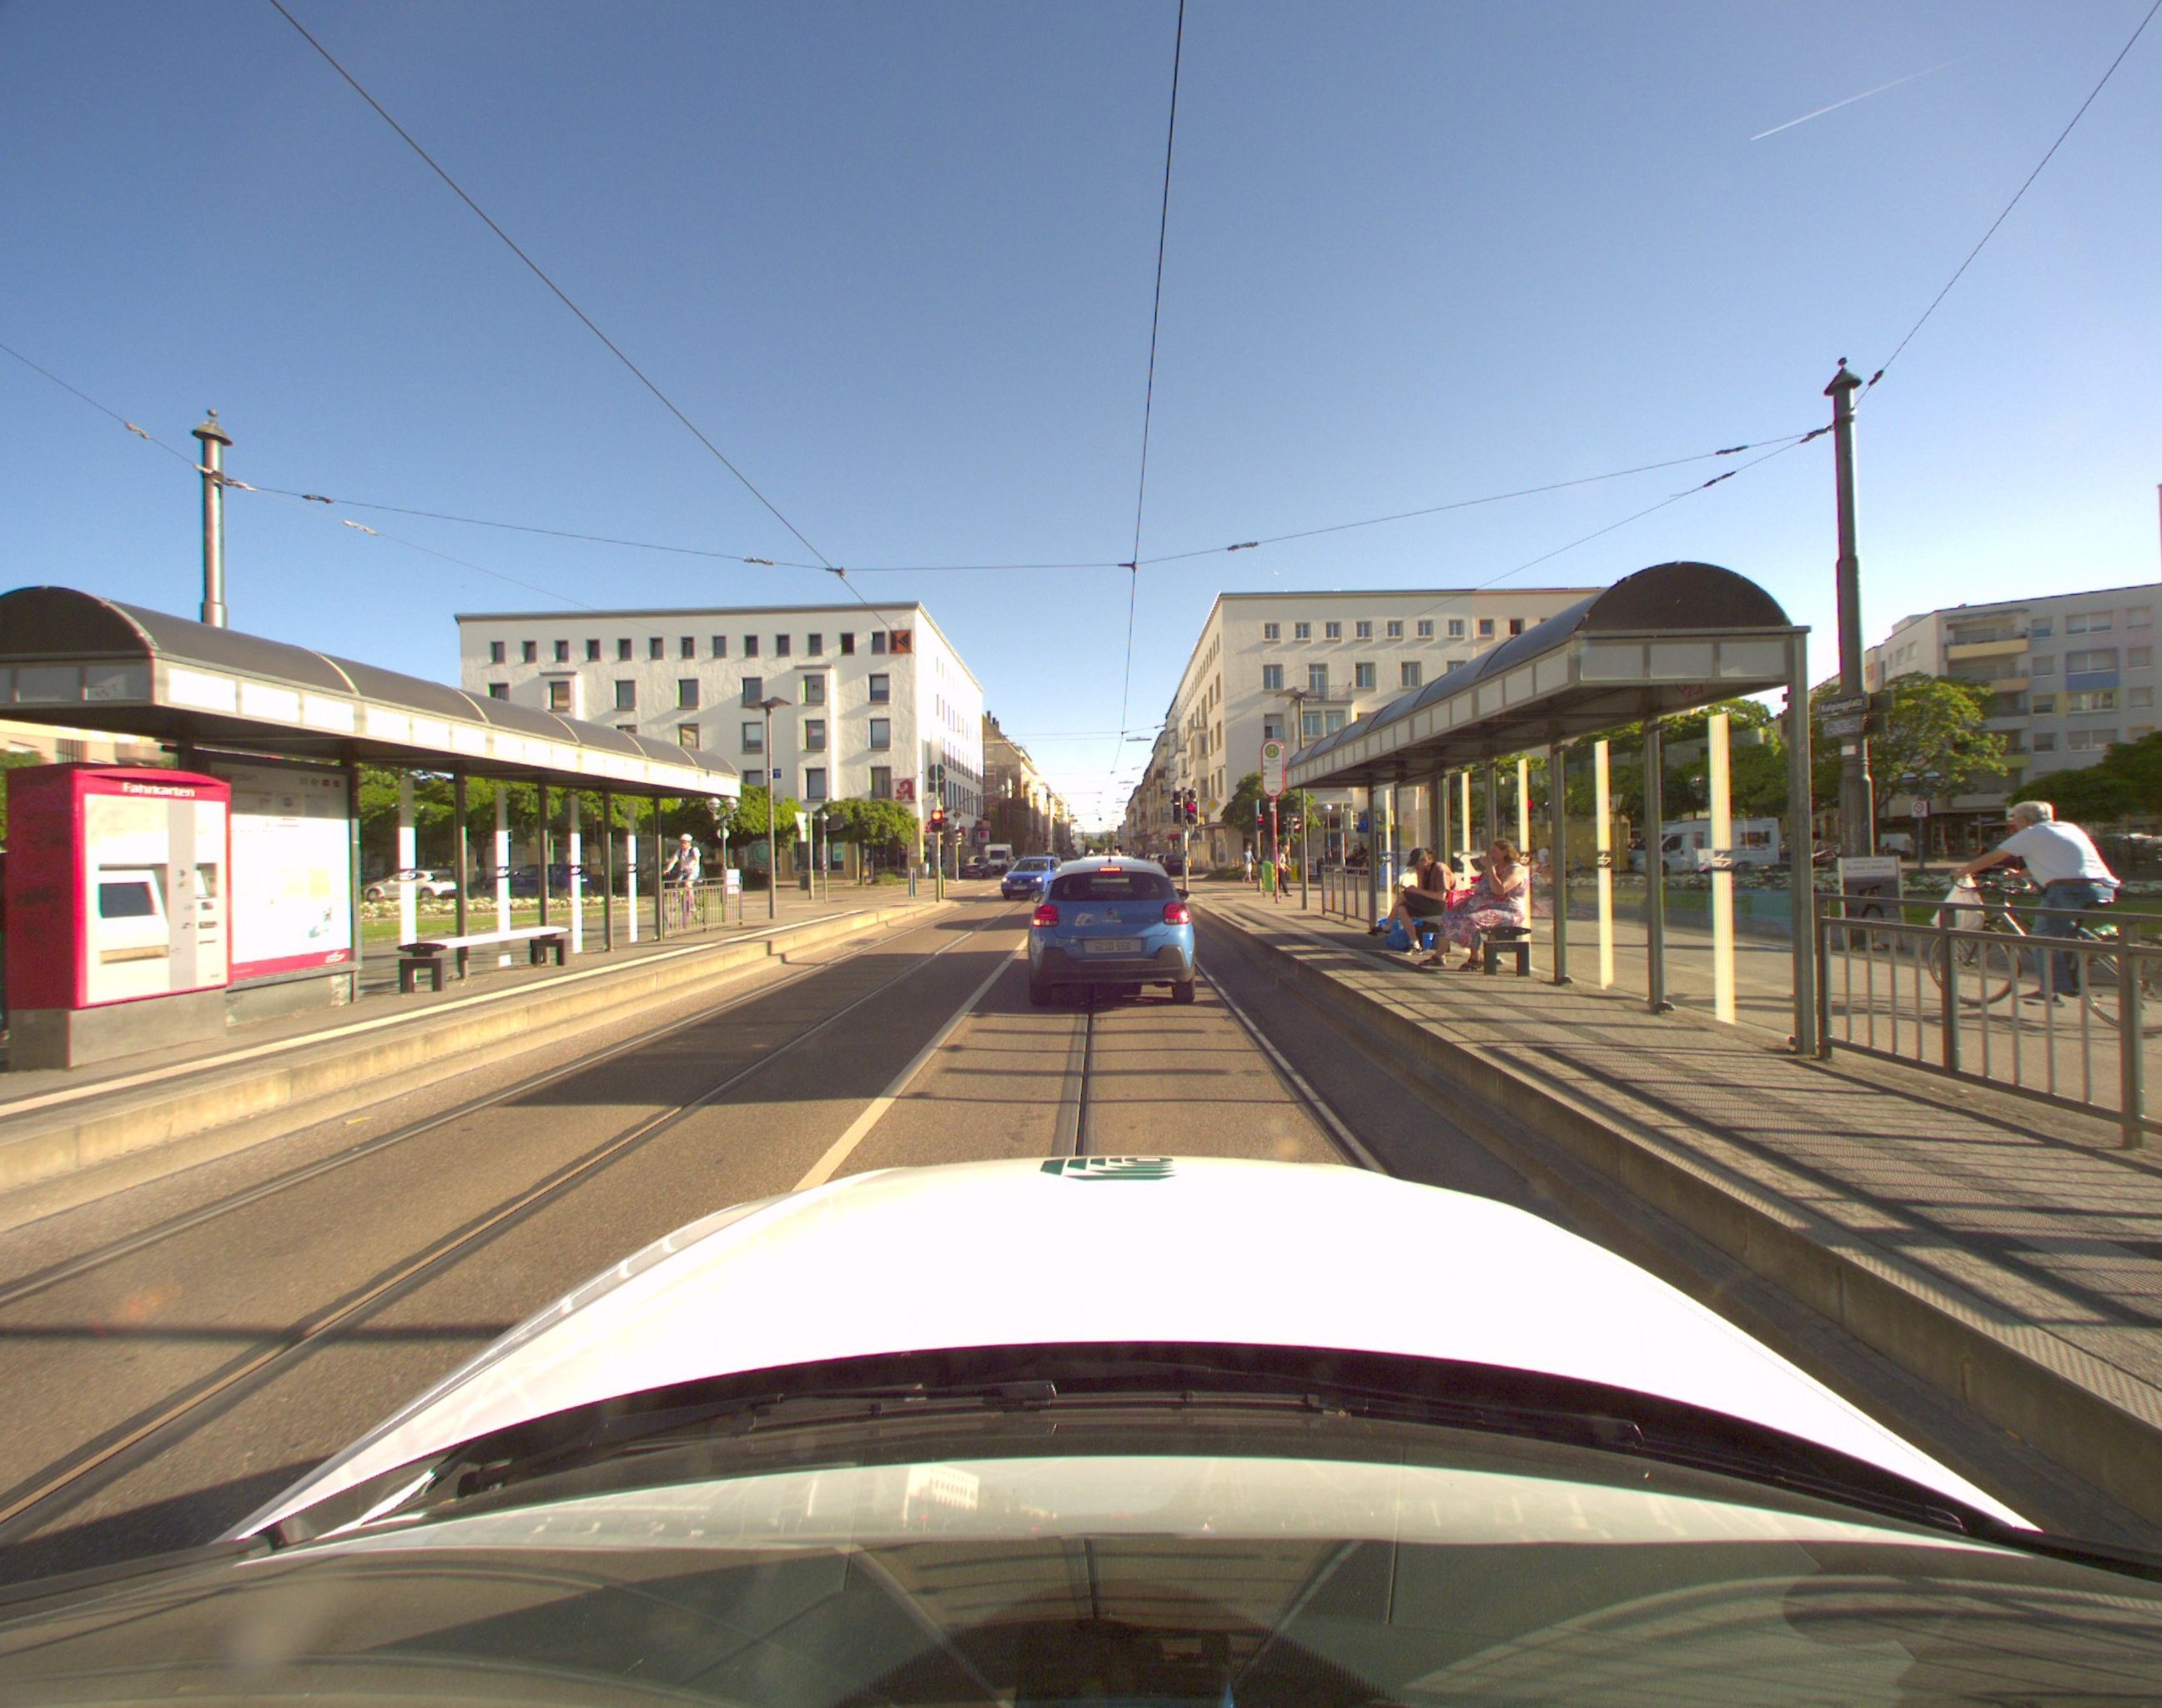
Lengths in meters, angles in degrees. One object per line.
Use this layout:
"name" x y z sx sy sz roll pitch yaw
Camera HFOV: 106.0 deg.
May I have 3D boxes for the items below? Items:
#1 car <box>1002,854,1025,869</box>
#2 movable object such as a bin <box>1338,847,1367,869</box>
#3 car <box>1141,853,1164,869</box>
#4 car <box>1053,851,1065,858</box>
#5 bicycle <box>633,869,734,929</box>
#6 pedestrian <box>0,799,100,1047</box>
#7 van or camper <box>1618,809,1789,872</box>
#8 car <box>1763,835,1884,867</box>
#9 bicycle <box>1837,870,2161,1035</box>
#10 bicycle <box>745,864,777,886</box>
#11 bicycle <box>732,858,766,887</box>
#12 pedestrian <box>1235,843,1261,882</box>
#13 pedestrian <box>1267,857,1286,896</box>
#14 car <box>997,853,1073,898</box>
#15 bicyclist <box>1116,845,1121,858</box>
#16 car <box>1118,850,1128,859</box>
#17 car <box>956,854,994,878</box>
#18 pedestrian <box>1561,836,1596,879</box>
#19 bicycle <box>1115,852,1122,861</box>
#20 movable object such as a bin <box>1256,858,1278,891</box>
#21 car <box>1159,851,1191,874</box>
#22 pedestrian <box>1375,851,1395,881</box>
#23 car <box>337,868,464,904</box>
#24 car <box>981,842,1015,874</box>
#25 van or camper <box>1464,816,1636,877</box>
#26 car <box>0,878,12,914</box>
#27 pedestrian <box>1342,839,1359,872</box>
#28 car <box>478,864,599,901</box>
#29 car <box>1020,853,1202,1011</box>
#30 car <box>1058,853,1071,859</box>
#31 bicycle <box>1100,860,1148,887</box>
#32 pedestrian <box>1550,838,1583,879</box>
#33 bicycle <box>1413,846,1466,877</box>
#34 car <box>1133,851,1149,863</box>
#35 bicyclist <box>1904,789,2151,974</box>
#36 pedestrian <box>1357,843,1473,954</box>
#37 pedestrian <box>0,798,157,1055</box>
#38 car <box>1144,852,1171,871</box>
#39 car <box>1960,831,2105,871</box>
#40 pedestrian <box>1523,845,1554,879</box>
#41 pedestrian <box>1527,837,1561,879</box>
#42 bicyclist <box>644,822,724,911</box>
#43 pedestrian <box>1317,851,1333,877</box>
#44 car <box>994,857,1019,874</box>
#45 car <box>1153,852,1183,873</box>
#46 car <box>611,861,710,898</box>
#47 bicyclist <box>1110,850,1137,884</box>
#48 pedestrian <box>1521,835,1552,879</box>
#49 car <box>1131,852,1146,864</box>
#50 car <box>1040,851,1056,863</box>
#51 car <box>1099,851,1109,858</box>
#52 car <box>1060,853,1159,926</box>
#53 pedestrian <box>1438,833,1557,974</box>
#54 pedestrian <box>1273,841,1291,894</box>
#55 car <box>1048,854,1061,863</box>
"car" -6.855 0.768 82.944 1.986 1.398 4.157 0 0 1
"movable object such as a bin" 14.761 0.212 44.297 1.194 1.153 1.218 -1 0 2
"car" 6.769 0.634 77.305 1.985 1.464 4.003 -1 0 3
"car" -4.221 0.084 158.359 1.985 1.156 4.003 -1 0 3
"bicycle" -8.297 0.909 17.114 0.706 1.126 2.044 -1 0 15
"pedestrian" -8.256 0.526 6.369 0.426 1.859 0.526 -4 0 4
"van or camper" 30.347 -0.628 39.911 6.374 2.839 2.381 -1 0 5
"car" 36.895 -0.115 40.573 3.959 1.511 2.007 -1 -1 13
"bicycle" 7.534 0.686 6.480 0.718 1.061 2.317 0 0 -7
"bicycle" -18.852 1.213 48.049 0.615 1.190 2.624 -1 0 5
"bicycle" -19.576 1.076 48.092 0.614 1.607 2.625 -1 0 6
"pedestrian" 8.193 0.410 40.043 0.978 1.878 1.128 -1 -1 0
"pedestrian" 6.243 0.714 26.028 0.554 1.225 0.528 -1 -1 12
"car" -1.588 0.732 29.547 1.655 1.487 4.014 0 0 13
"bicyclist" 5.786 -0.371 126.771 0.806 2.014 0.923 0 -1 1
"car" 9.181 0.102 177.912 1.986 1.772 4.002 -1 0 2
"car" -7.376 0.836 57.068 1.986 1.569 4.403 2 0 1
"pedestrian" 18.734 0.137 30.692 0.897 1.585 0.663 -1 0 5
"bicycle" 5.834 0.426 126.632 0.916 1.389 3.133 -1 0 2
"movable object such as a bin" 4.528 0.496 19.842 0.447 0.786 0.489 -1 0 4
"car" 6.500 0.579 56.717 1.902 1.464 4.003 -1 0 3
"pedestrian" 15.203 0.600 40.771 0.727 1.409 0.755 -1 3 2
"car" -33.280 1.558 39.927 4.591 1.606 1.855 -1 0 -1
"car" -6.817 0.318 67.426 2.078 2.542 6.206 0 0 1
"van or camper" 23.091 -0.370 40.347 7.093 2.747 2.372 -1 1 2
"car" -42.024 1.641 29.685 1.638 1.354 3.314 -1 0 3
"pedestrian" 15.385 0.098 46.527 0.780 1.839 0.679 -1 0 5
"car" -26.950 1.385 40.582 4.591 1.662 1.999 -1 0 -1
"car" 0.344 0.741 9.643 1.721 1.482 3.828 0 0 2
"car" -3.755 0.436 189.686 1.980 1.156 4.528 -1 0 11
"bicycle" 1.861 0.850 35.424 1.978 1.113 0.725 -1 0 -22
"pedestrian" 19.234 0.173 32.251 0.897 1.585 0.663 -1 0 5
"bicycle" 17.950 0.392 40.816 2.376 1.531 0.726 0 0 1
"car" 7.800 0.405 106.367 1.985 1.464 4.507 -1 0 3
"bicyclist" 7.536 0.202 6.537 0.950 1.367 0.931 0 0 -7
"pedestrian" 3.913 0.503 9.612 0.995 1.225 0.923 2 -1 2
"pedestrian" -7.657 0.515 6.044 0.612 1.774 0.770 -4 0 4
"car" 6.254 0.578 67.229 1.985 1.501 4.003 -1 0 3
"car" 38.741 -0.109 33.222 3.983 1.486 1.995 -1 0 -7
"pedestrian" 17.775 0.313 31.662 0.896 1.279 0.606 -1 0 9
"pedestrian" 17.584 0.147 30.961 0.897 1.585 0.663 -1 0 5
"bicyclist" -8.308 0.262 17.092 0.996 1.793 1.100 -1 0 14
"pedestrian" 12.927 0.533 43.139 0.733 1.316 0.631 -1 0 25
"car" -6.783 1.026 74.081 1.881 1.496 3.562 0 -1 1
"car" 6.464 0.610 60.983 1.985 1.464 4.003 -1 0 3
"car" -21.009 1.258 40.780 3.972 1.706 1.826 -1 0 1
"bicyclist" 1.842 0.561 35.415 0.878 1.455 0.824 0 -1 -22
"pedestrian" 18.079 0.113 32.327 0.895 1.685 0.698 -1 0 12
"car" 7.998 0.587 113.868 1.986 1.552 4.002 -1 0 2
"car" -5.291 0.491 131.613 1.997 2.014 4.694 0 -1 4
"car" 5.551 0.132 196.051 1.988 1.778 3.997 -1 0 -2
"car" 0.654 0.722 18.882 1.977 1.464 4.817 0 0 2
"pedestrian" 4.151 0.479 8.155 0.855 1.334 0.623 2 -1 2
"pedestrian" 6.690 0.450 27.153 0.554 1.745 0.528 -1 -1 12
"car" -4.597 0.762 141.286 1.946 1.552 3.943 0 -1 4
